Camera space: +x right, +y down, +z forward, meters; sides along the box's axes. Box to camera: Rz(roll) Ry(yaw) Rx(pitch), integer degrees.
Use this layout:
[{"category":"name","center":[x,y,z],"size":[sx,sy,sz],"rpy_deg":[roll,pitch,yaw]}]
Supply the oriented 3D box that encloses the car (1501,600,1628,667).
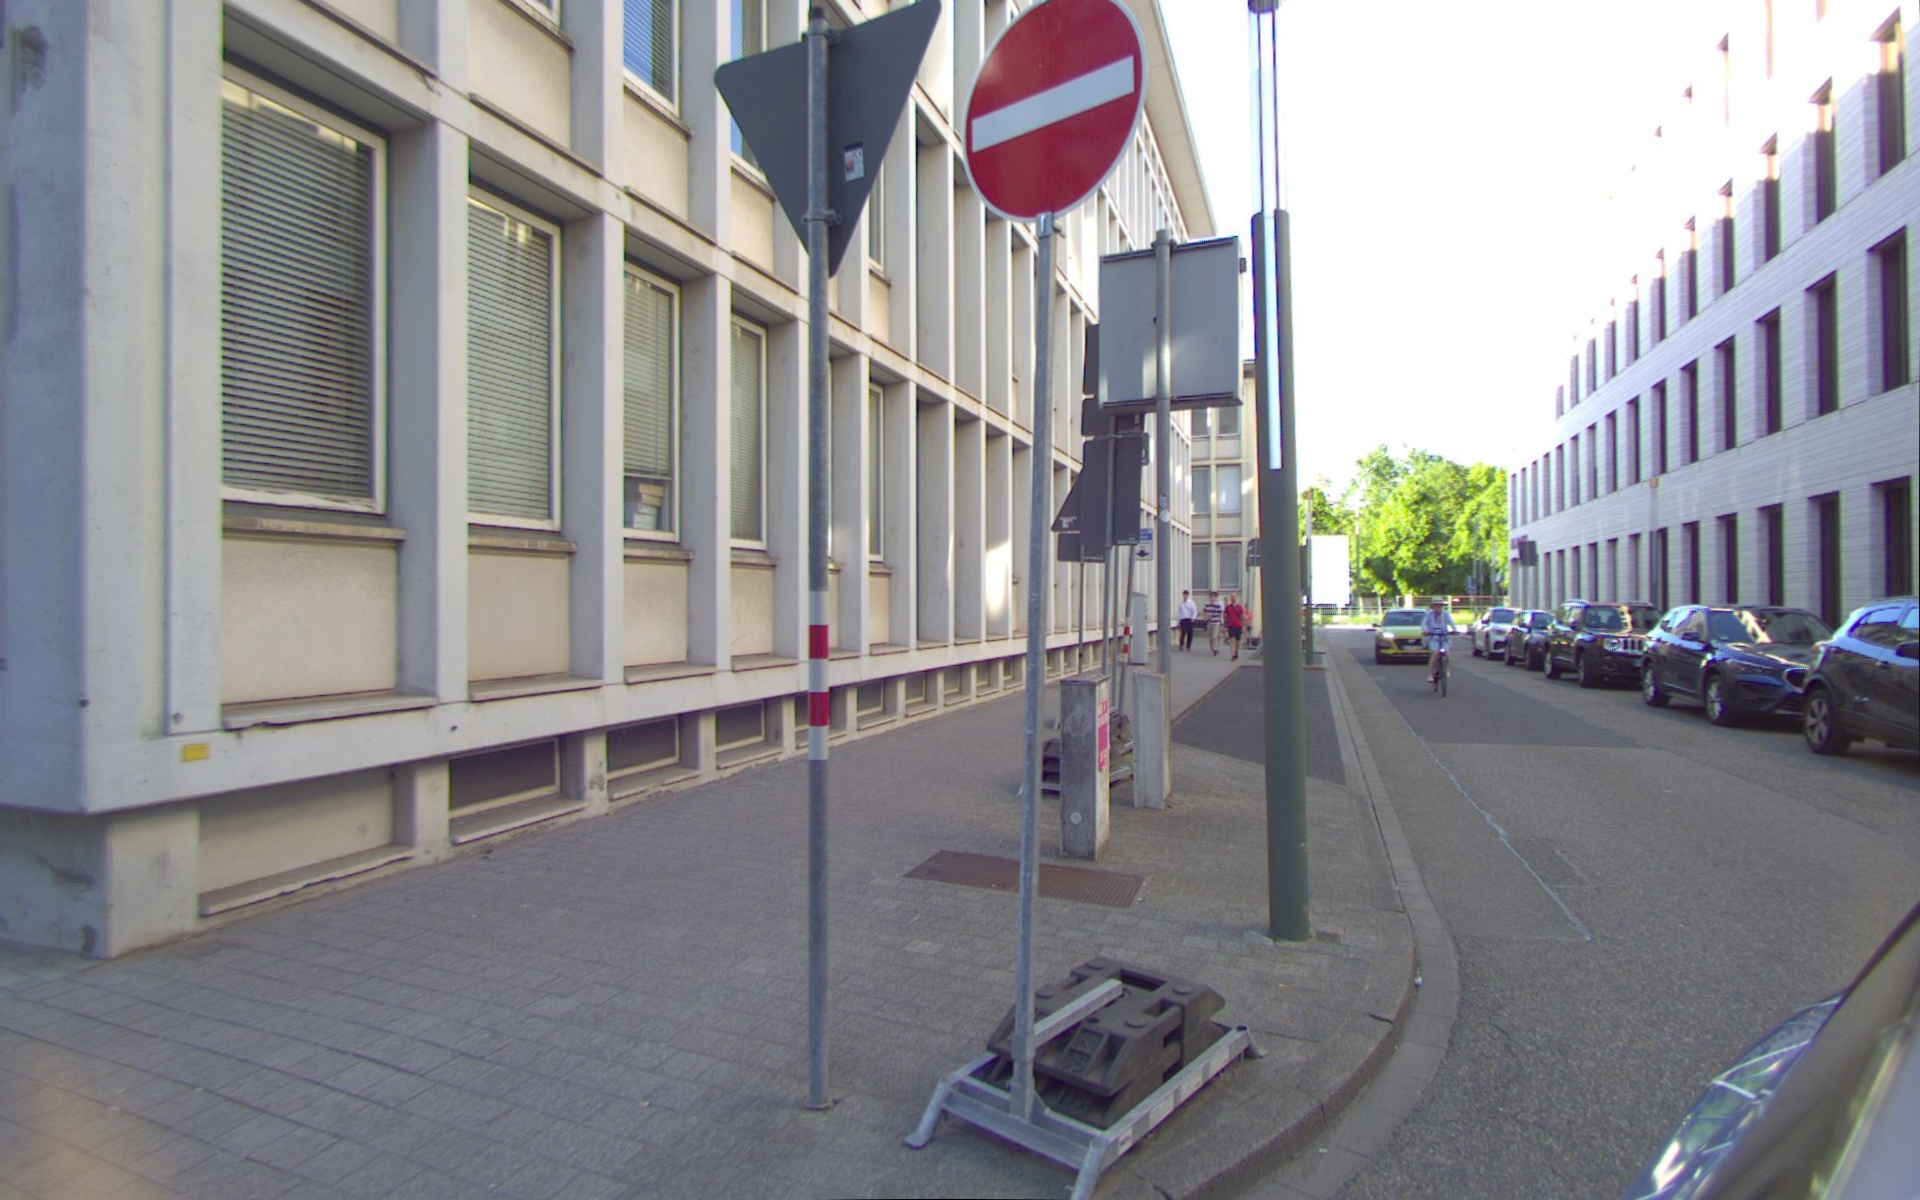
[{"category":"car","center":[15.338,0.805,25.919],"size":[1.804,1.561,4.239],"rpy_deg":[-1,-1,18]}]

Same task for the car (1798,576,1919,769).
[{"category":"car","center":[9.340,0.662,8.705],"size":[1.804,1.699,4.237],"rpy_deg":[2,0,18]}]

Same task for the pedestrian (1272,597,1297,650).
[{"category":"pedestrian","center":[11.134,0.797,34.744],"size":[0.677,1.737,0.688],"rpy_deg":[3,1,22]}]

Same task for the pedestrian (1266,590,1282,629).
[{"category":"pedestrian","center":[14.658,0.431,47.240],"size":[0.635,1.812,0.572],"rpy_deg":[2,1,20]}]

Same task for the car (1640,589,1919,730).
[{"category":"car","center":[11.157,0.713,14.148],"size":[1.724,1.615,4.126],"rpy_deg":[2,0,20]}]

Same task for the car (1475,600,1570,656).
[{"category":"car","center":[17.082,0.814,30.948],"size":[1.805,1.561,4.417],"rpy_deg":[1,0,19]}]

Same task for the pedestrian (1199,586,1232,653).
[{"category":"pedestrian","center":[7.257,0.545,28.738],"size":[0.677,1.800,0.688],"rpy_deg":[5,1,22]}]

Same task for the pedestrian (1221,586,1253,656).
[{"category":"pedestrian","center":[7.392,0.559,26.994],"size":[0.677,1.801,0.589],"rpy_deg":[3,0,22]}]

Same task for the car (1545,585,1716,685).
[{"category":"car","center":[13.226,0.640,20.243],"size":[1.804,1.736,3.994],"rpy_deg":[2,0,18]}]

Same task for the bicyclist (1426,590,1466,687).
[{"category":"bicyclist","center":[8.775,0.685,18.289],"size":[0.579,1.710,0.534],"rpy_deg":[-1,0,23]}]

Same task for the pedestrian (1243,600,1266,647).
[{"category":"pedestrian","center":[10.595,0.837,36.443],"size":[0.677,1.657,0.688],"rpy_deg":[2,0,22]}]

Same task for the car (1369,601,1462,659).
[{"category":"car","center":[13.037,0.818,29.224],"size":[1.974,1.478,4.410],"rpy_deg":[-1,0,19]}]

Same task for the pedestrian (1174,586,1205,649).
[{"category":"pedestrian","center":[6.882,0.515,30.322],"size":[0.677,1.800,0.688],"rpy_deg":[5,1,22]}]

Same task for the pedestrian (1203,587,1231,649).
[{"category":"pedestrian","center":[7.607,0.534,29.960],"size":[0.677,1.801,0.688],"rpy_deg":[2,0,22]}]

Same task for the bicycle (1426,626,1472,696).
[{"category":"bicycle","center":[8.743,1.060,18.167],"size":[0.589,1.097,2.293],"rpy_deg":[-1,0,23]}]
